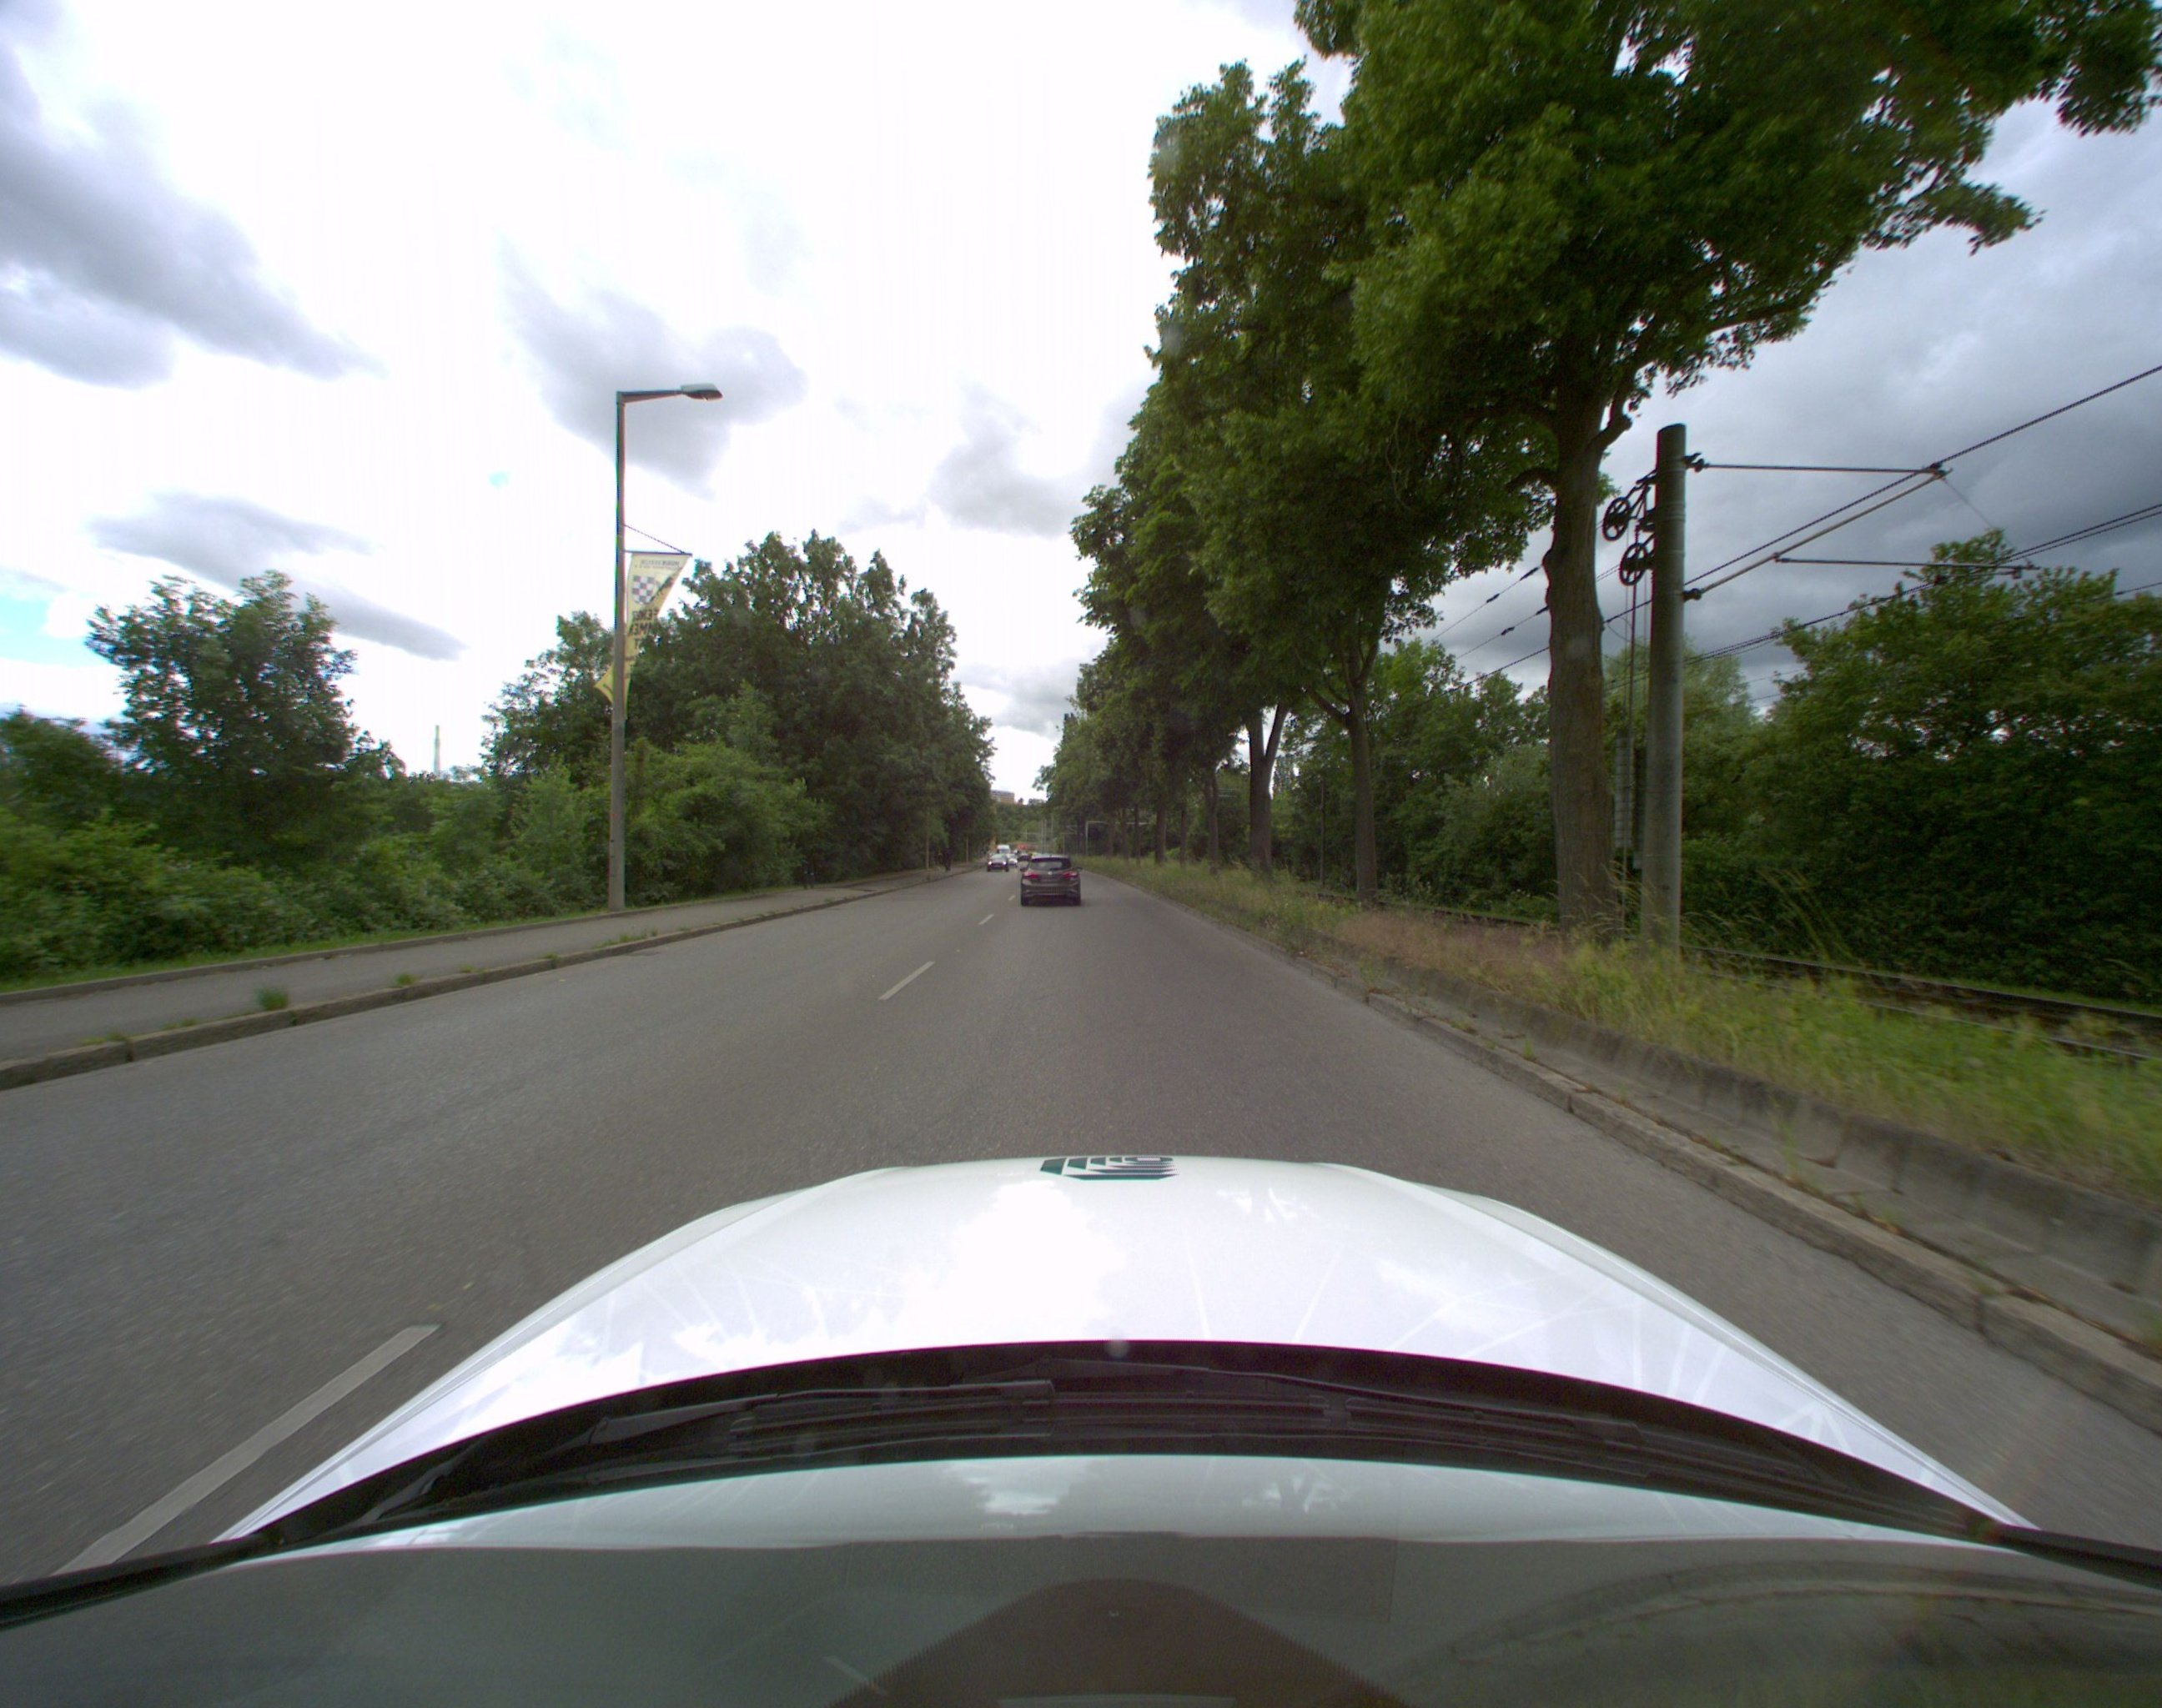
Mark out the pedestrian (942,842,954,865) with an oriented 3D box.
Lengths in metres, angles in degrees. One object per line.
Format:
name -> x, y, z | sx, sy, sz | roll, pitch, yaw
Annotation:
pedestrian -> -9.313, -0.035, 56.892 | 0.615, 1.571, 0.849 | 3, 1, 0

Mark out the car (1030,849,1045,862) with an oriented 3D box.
car -> -5.802, 0.170, 108.296 | 1.773, 1.472, 3.994 | 3, 1, -4

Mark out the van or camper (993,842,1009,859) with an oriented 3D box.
van or camper -> -10.826, -0.493, 110.583 | 1.922, 2.151, 3.925 | 3, 1, -5

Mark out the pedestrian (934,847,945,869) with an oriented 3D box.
pedestrian -> -11.174, 0.314, 64.353 | 0.693, 1.621, 0.684 | 3, 1, -1

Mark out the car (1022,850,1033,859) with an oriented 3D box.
car -> -8.973, 0.051, 136.786 | 1.771, 1.472, 3.998 | 3, 1, -2

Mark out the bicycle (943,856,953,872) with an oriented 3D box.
bicycle -> -9.287, 0.700, 56.937 | 0.486, 1.030, 1.124 | 3, 1, 0

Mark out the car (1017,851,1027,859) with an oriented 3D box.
car -> -10.918, 0.142, 151.234 | 1.771, 1.472, 3.998 | 1, 1, -2

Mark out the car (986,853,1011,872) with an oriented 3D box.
car -> -6.900, 0.669, 68.211 | 1.744, 1.464, 3.917 | 2, 0, -2

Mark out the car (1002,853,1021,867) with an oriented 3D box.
car -> -7.373, 0.628, 86.817 | 1.720, 1.330, 3.473 | 2, 1, -2

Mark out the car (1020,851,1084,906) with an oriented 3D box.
car -> -0.835, 0.683, 25.193 | 1.810, 1.508, 4.000 | 0, 1, 0
